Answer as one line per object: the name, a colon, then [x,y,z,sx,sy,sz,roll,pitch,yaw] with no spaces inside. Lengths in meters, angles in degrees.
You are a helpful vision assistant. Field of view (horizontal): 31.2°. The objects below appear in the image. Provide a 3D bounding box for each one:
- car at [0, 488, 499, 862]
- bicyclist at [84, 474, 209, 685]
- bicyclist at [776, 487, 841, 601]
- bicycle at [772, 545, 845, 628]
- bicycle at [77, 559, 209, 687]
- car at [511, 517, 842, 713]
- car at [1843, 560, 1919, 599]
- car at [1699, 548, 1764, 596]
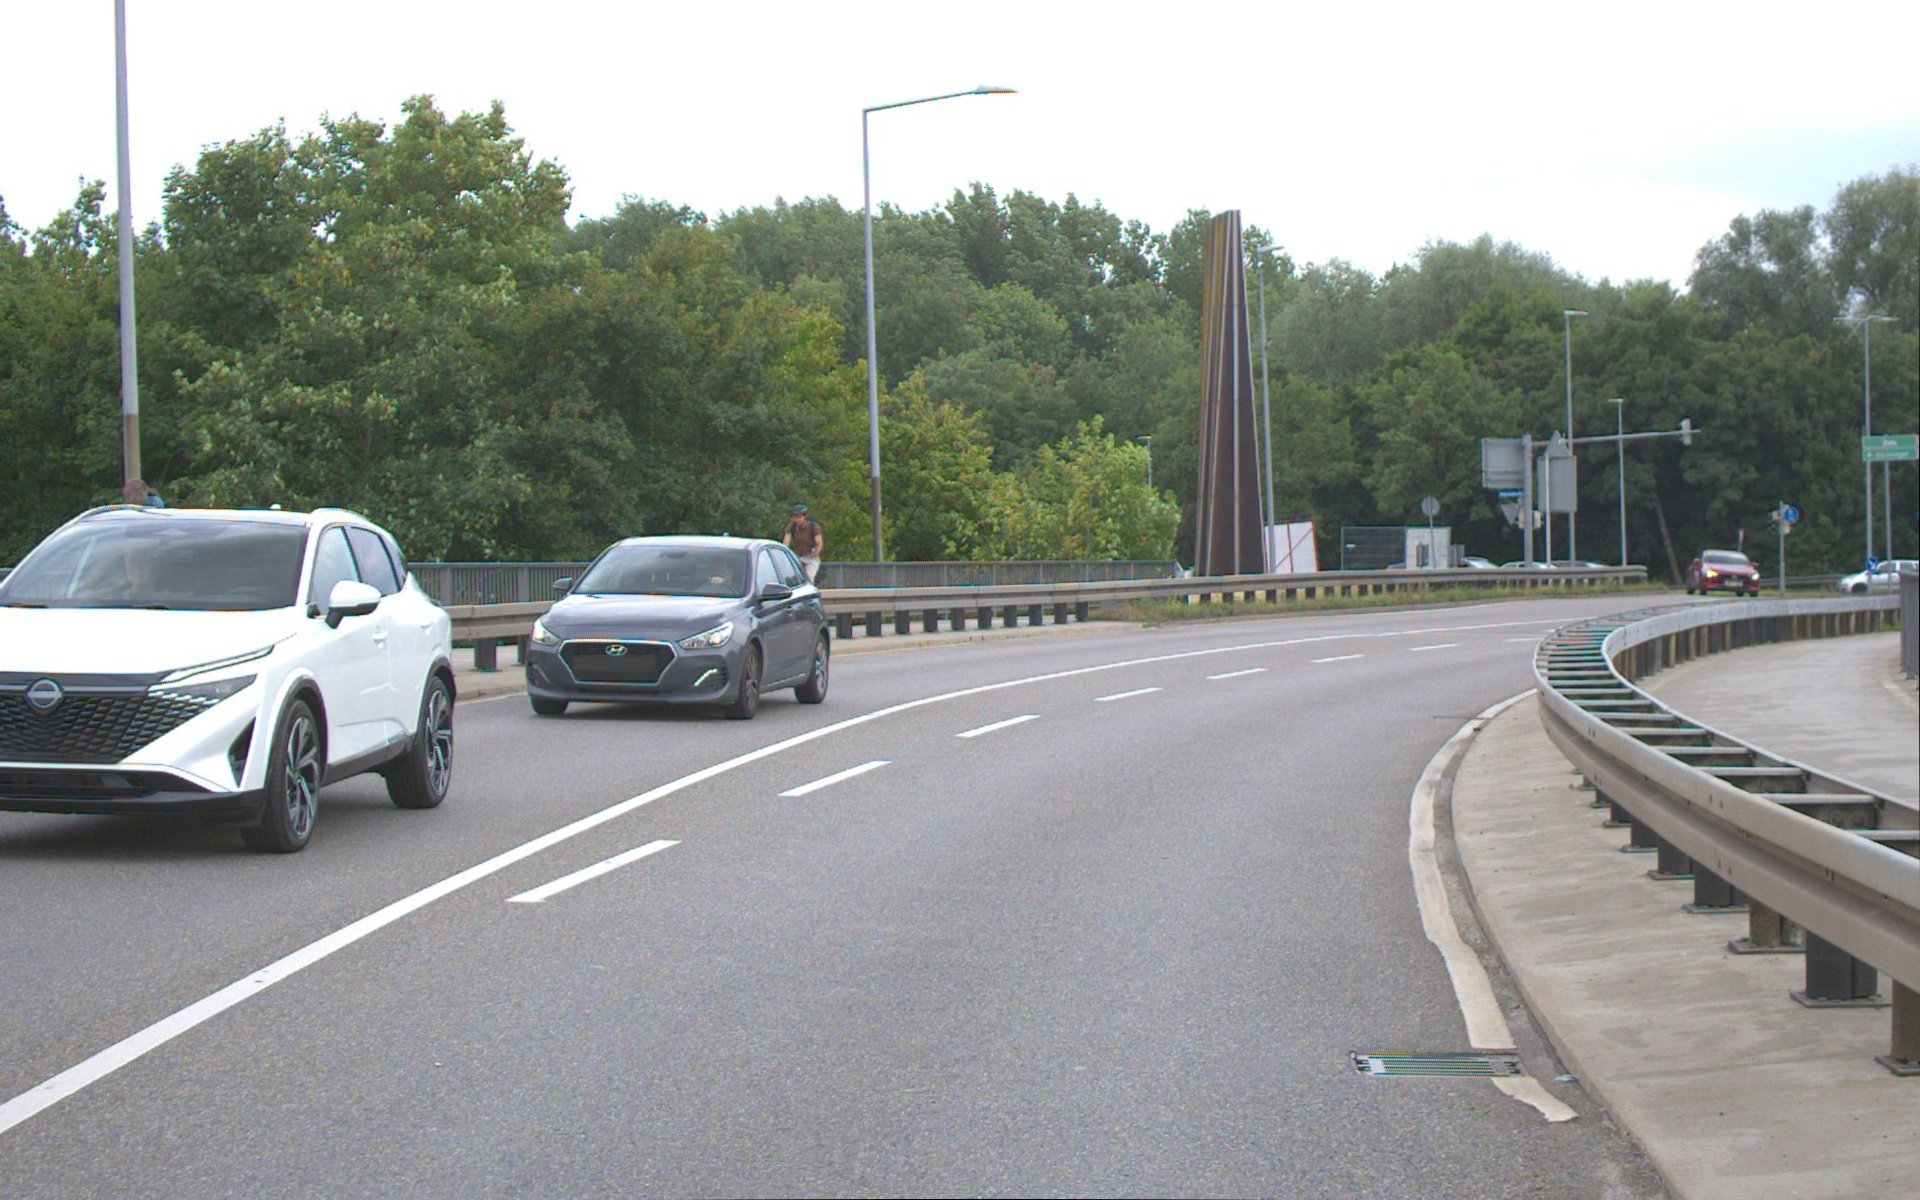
car: [-3.824,0.275,17.212,1.941,1.588,4.773,1,1,6]
bicyclist: [-7.083,-0.185,29.966,0.848,1.802,0.796,1,1,3]
bicyclist: [-2.194,-0.808,49.862,0.772,1.626,0.649,1,0,13]
bicycle: [-2.196,-0.209,49.957,0.635,1.170,1.905,1,1,10]
bicycle: [-7.091,0.181,29.913,0.645,1.064,1.761,1,1,3]
car: [-2.268,0.080,28.693,1.809,1.472,4.381,1,1,8]
car: [38.493,-0.825,141.227,3.987,1.546,2.000,1,1,4]
car: [24.339,-0.893,108.338,1.797,1.467,4.632,1,1,15]
